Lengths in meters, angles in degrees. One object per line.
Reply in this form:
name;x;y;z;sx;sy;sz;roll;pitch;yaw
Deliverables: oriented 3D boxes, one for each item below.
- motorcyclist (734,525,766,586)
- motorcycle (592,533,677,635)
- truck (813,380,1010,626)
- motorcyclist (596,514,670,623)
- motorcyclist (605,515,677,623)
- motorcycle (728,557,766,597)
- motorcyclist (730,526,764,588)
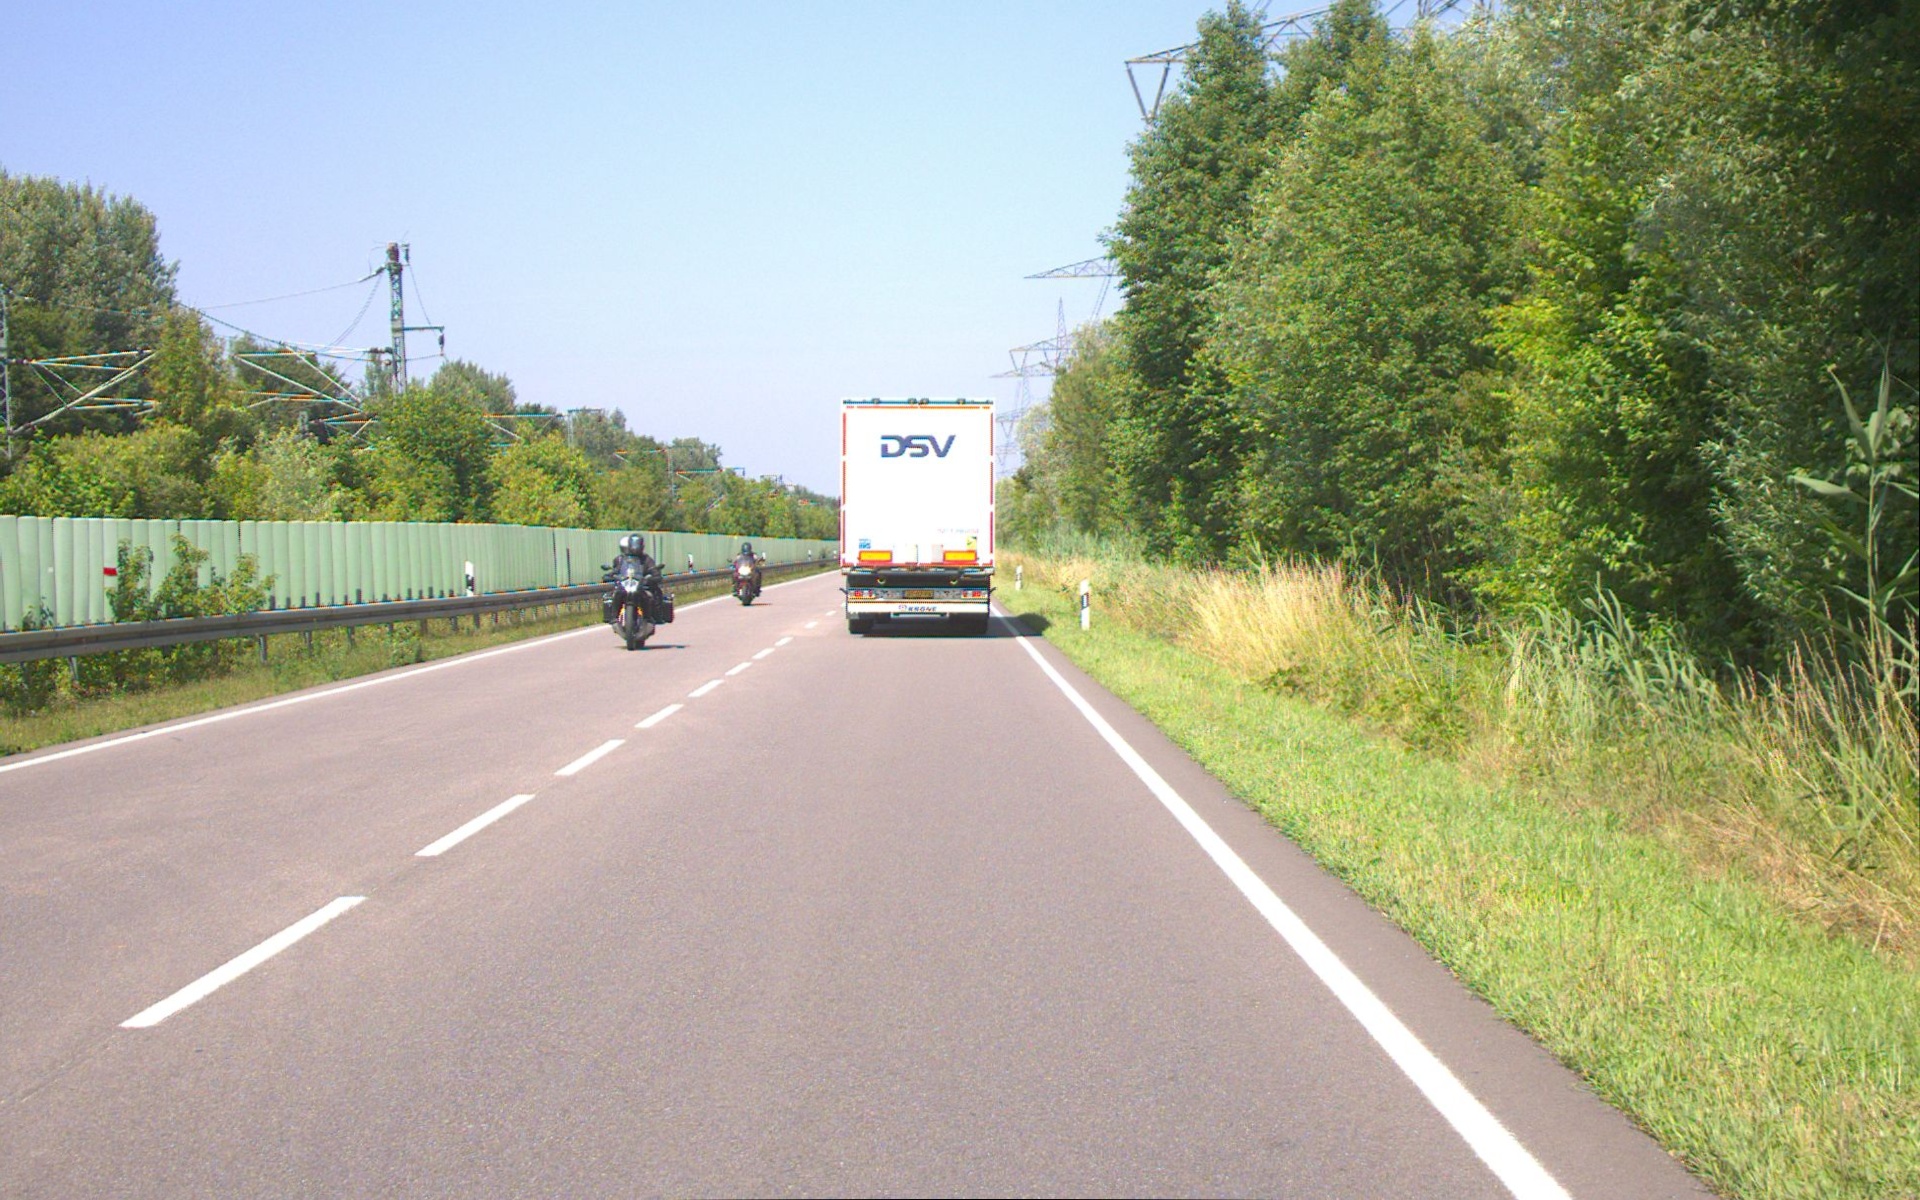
motorcyclist;-5.527;-1.169;90.426;0.749;1.577;0.863;1;0;1
motorcycle;-4.877;-0.248;51.683;0.968;1.491;2.630;1;1;1
truck;-0.883;-1.695;62.449;3.192;4.029;12.007;0;1;-1
motorcyclist;-4.880;-0.468;51.351;0.959;1.604;1.003;1;1;1
motorcyclist;-4.856;-0.471;52.358;0.959;1.604;1.003;1;1;1
motorcycle;-5.555;-0.616;89.701;0.754;1.010;2.721;1;1;1
motorcyclist;-5.543;-1.123;89.479;0.758;1.577;1.003;1;1;1
